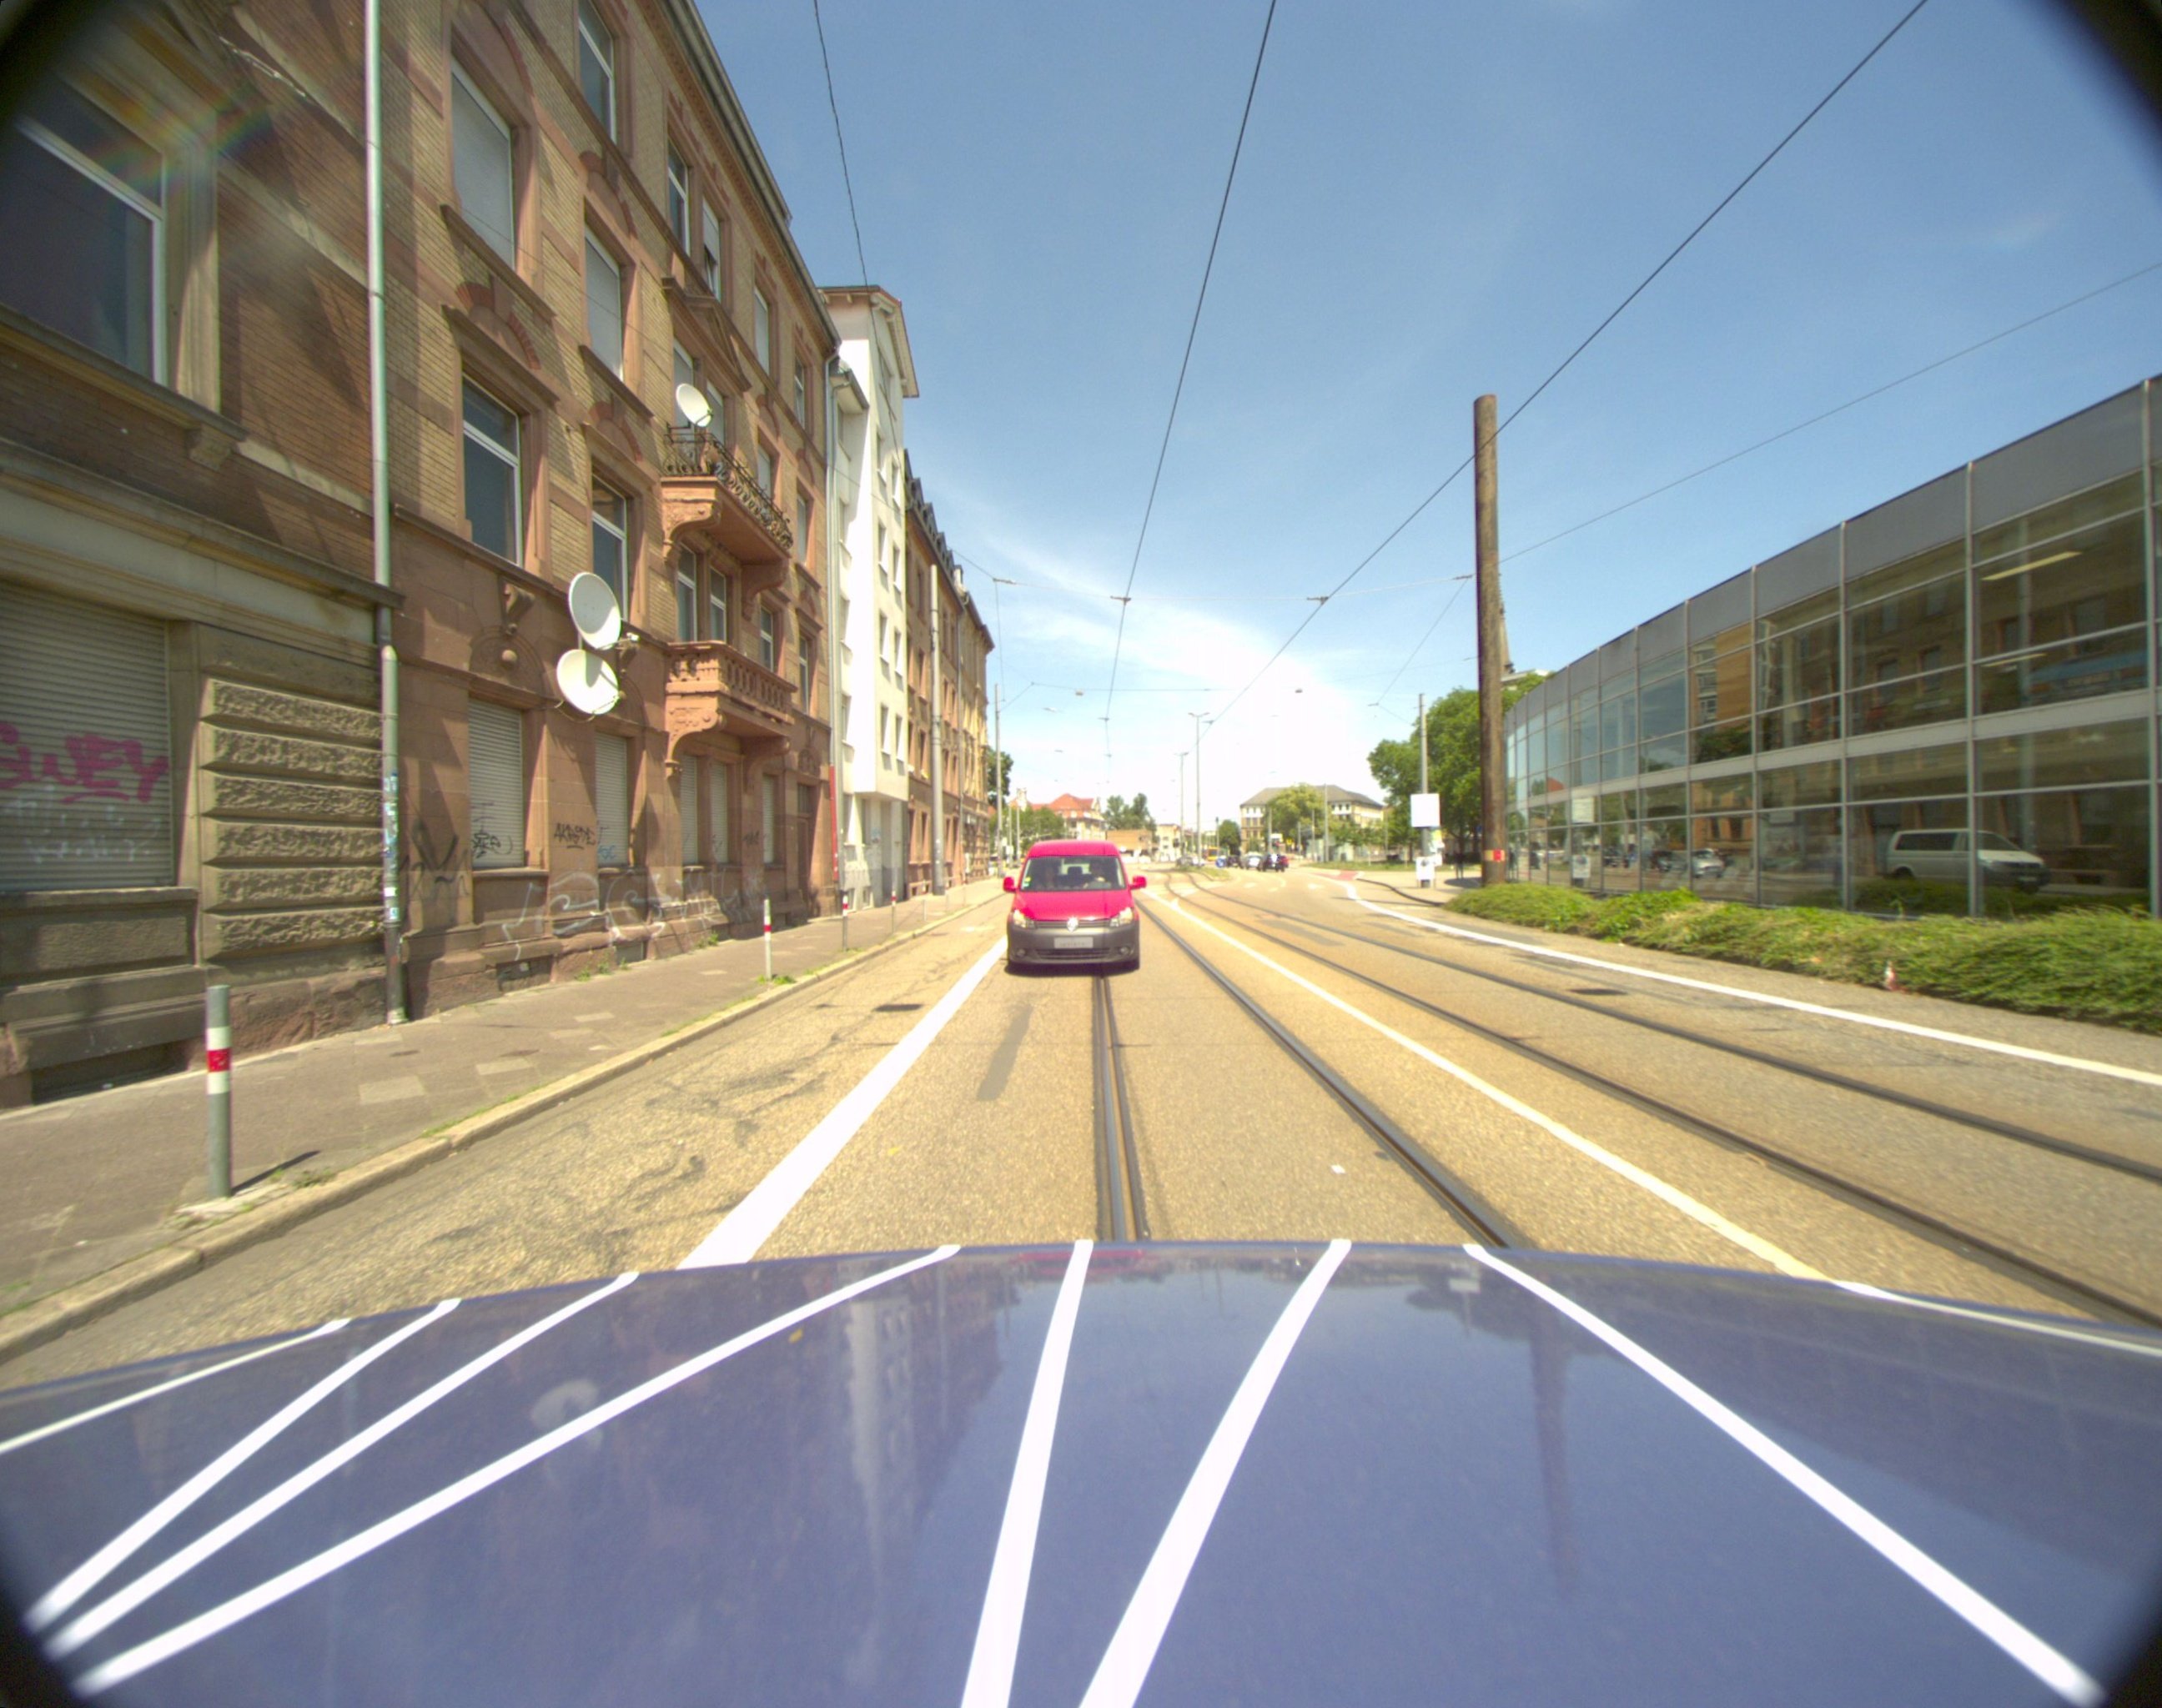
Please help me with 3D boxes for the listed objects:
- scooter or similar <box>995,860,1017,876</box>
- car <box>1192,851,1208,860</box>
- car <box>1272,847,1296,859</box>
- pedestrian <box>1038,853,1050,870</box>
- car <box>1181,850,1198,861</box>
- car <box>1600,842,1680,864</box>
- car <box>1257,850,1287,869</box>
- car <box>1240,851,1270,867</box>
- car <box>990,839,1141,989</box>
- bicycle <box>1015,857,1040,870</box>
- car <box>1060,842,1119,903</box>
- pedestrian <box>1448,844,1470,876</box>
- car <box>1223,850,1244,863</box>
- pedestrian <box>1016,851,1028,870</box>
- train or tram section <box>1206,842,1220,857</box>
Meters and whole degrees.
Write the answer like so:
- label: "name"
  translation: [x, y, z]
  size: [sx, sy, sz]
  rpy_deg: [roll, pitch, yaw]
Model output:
- label: "scooter or similar"
  translation: [-5.956, 1.103, 60.290]
  size: [1.527, 1.149, 0.713]
  rpy_deg: [-1, 0, -28]
- label: "car"
  translation: [17.367, 0.241, 110.631]
  size: [1.711, 1.291, 4.203]
  rpy_deg: [0, 0, 0]
- label: "car"
  translation: [23.700, -0.085, 88.753]
  size: [1.762, 1.359, 4.289]
  rpy_deg: [-2, 0, 2]
- label: "pedestrian"
  translation: [-3.941, 0.845, 80.547]
  size: [0.808, 1.769, 0.876]
  rpy_deg: [-1, 1, 33]
- label: "car"
  translation: [14.790, 0.162, 103.702]
  size: [1.847, 1.471, 4.331]
  rpy_deg: [0, 0, 2]
- label: "car"
  translation: [37.932, -0.071, 51.680]
  size: [1.614, 1.412, 4.180]
  rpy_deg: [-1, 0, -23]
- label: "car"
  translation: [16.942, 0.435, 67.433]
  size: [1.826, 1.617, 4.526]
  rpy_deg: [0, 0, 4]
- label: "car"
  translation: [17.750, 0.503, 77.810]
  size: [1.998, 1.521, 5.131]
  rpy_deg: [0, 1, 1]
- label: "car"
  translation: [-0.036, 0.731, 11.331]
  size: [1.755, 1.802, 4.099]
  rpy_deg: [-1, 0, 5]
- label: "bicycle"
  translation: [-5.349, 0.955, 75.890]
  size: [2.225, 1.243, 1.096]
  rpy_deg: [-1, 0, -43]
- label: "car"
  translation: [0.320, 0.594, 26.645]
  size: [1.874, 1.954, 3.823]
  rpy_deg: [-1, 0, 1]
- label: "pedestrian"
  translation: [19.882, 0.327, 39.960]
  size: [0.729, 1.632, 0.820]
  rpy_deg: [-1, 1, 4]
- label: "car"
  translation: [17.759, 0.237, 88.412]
  size: [1.675, 1.453, 3.903]
  rpy_deg: [0, 0, 1]
- label: "pedestrian"
  translation: [-5.879, 0.645, 75.462]
  size: [0.826, 1.765, 0.812]
  rpy_deg: [-3, 2, -43]
- label: "train or tram section"
  translation: [29.928, -1.057, 172.394]
  size: [2.839, 3.195, 9.116]
  rpy_deg: [-1, 0, 11]
